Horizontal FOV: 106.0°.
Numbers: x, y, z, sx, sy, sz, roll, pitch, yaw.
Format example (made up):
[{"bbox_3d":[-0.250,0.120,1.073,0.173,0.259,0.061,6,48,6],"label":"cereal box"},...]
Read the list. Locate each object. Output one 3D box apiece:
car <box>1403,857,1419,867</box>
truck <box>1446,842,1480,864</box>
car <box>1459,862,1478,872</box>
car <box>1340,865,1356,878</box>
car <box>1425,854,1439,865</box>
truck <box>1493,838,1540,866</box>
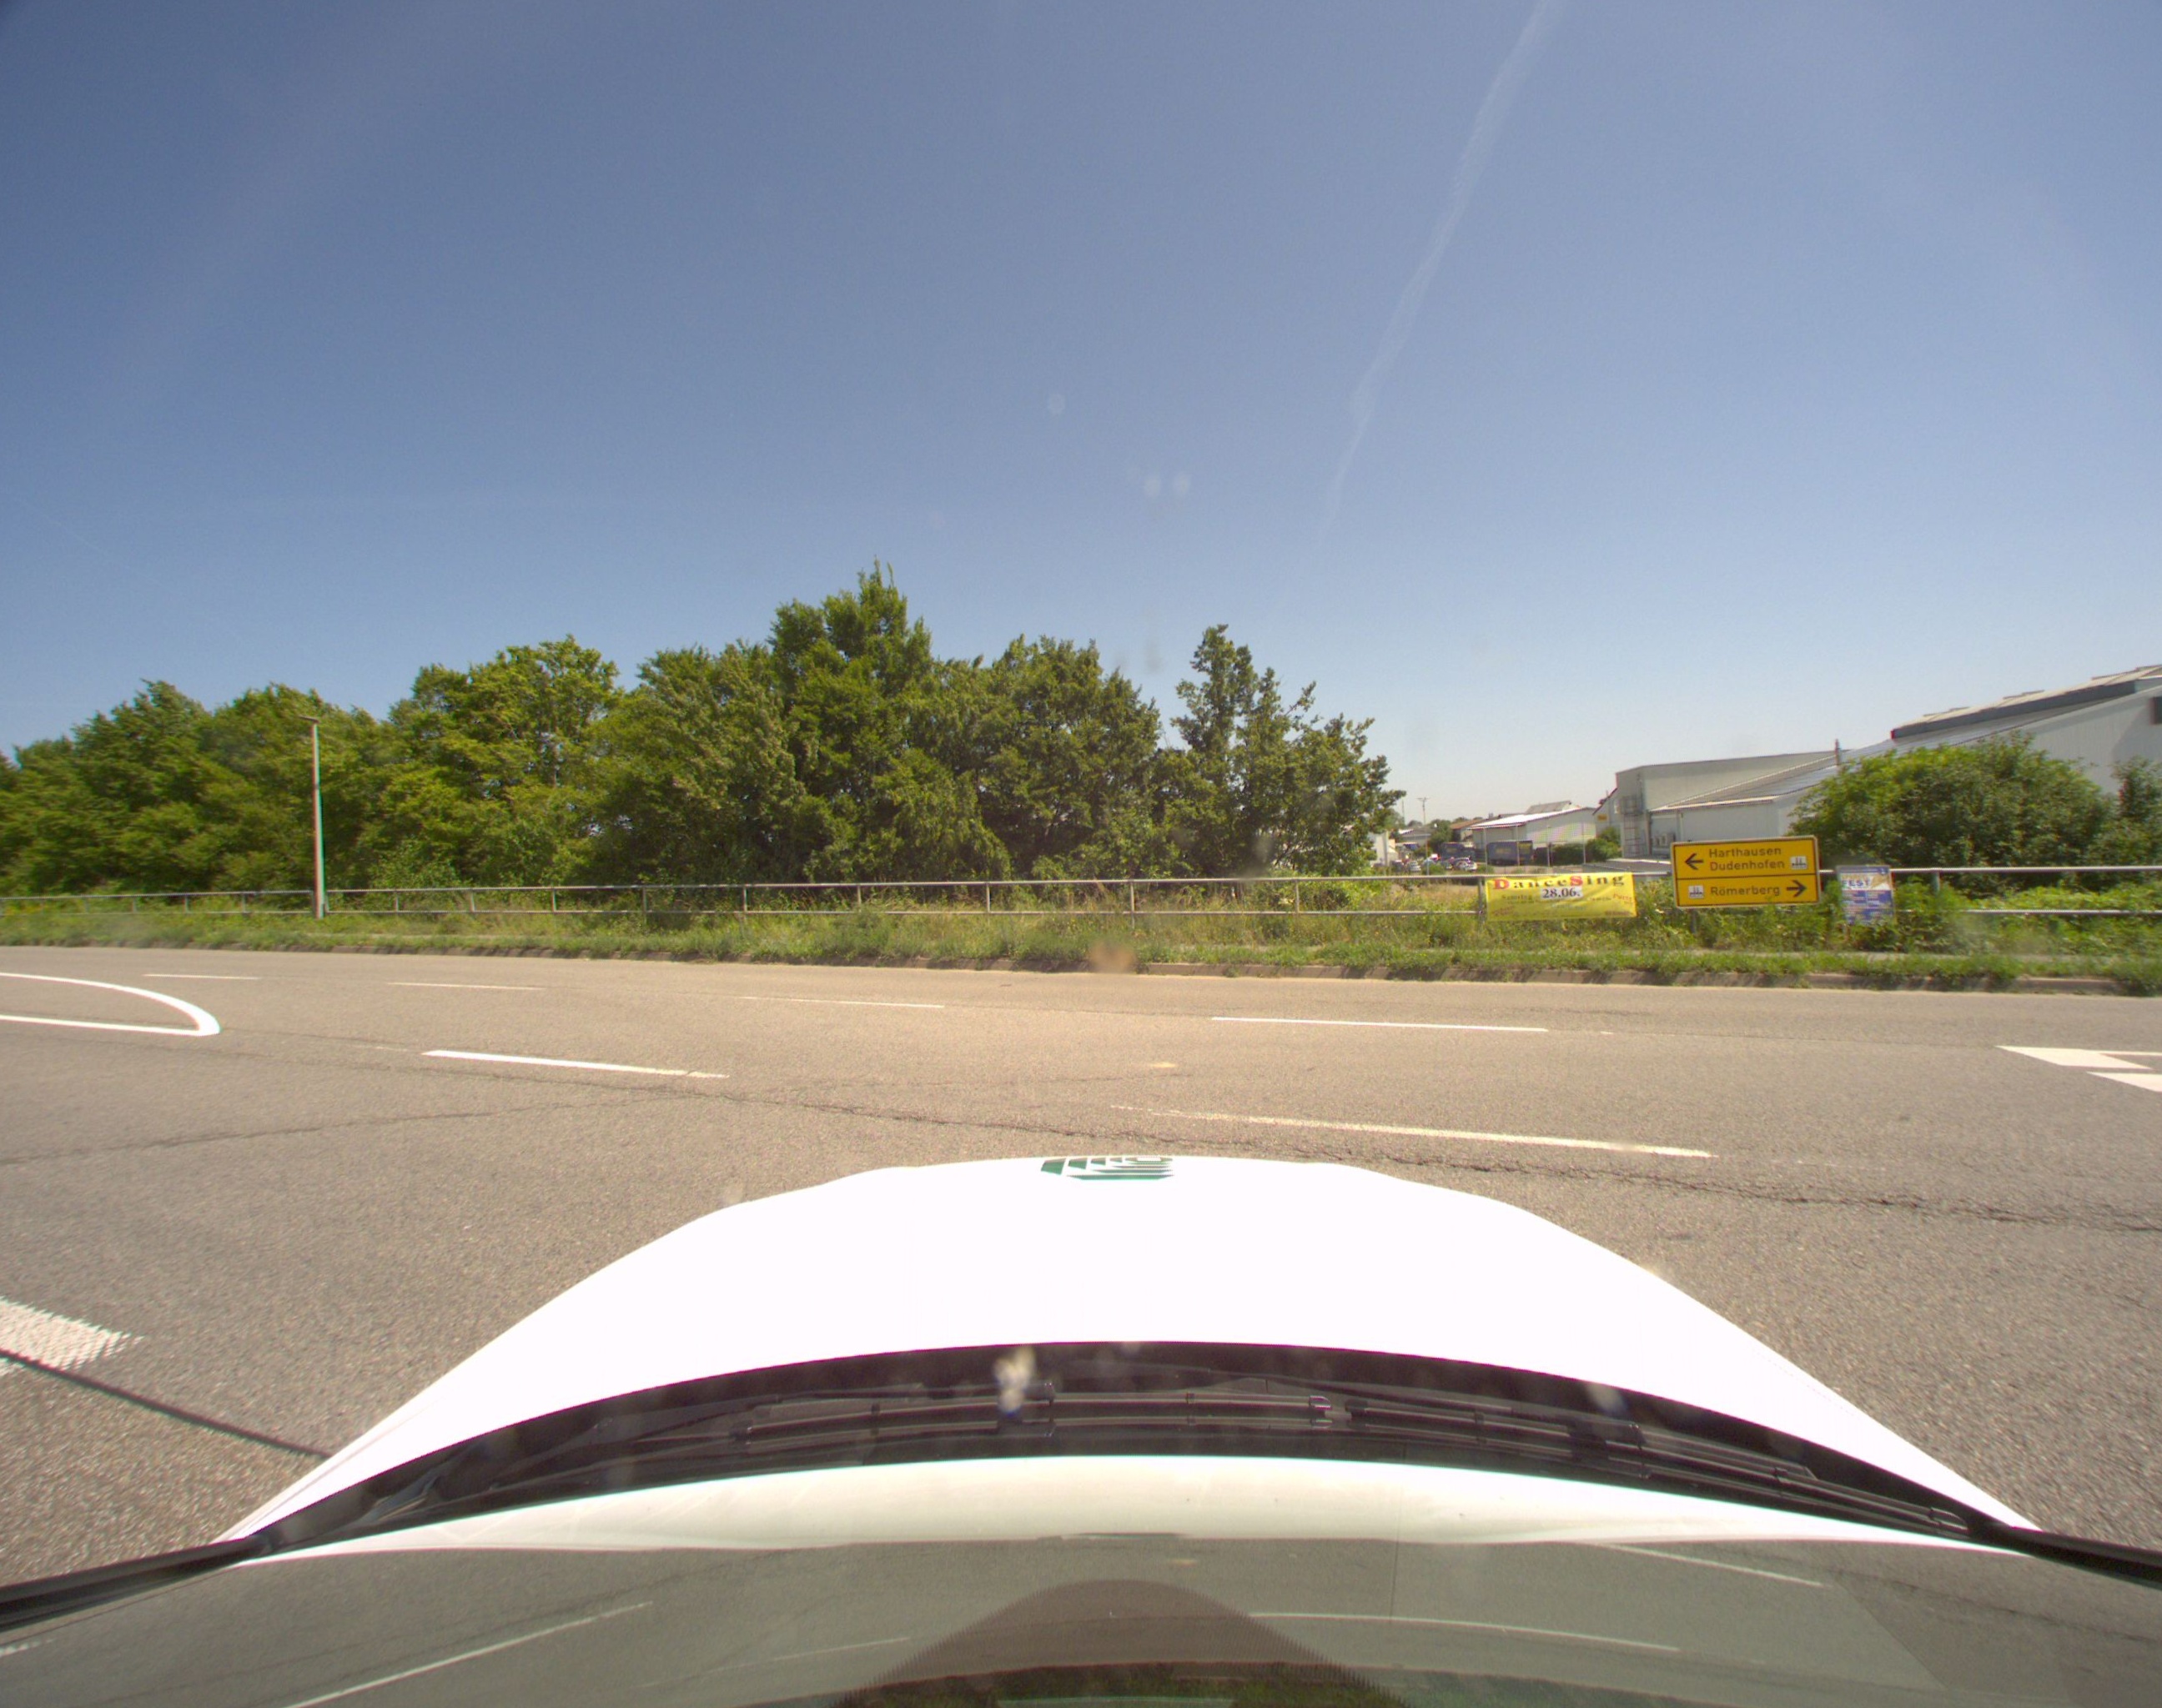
[{"bbox_3d":[63.534,1.555,156.723,1.980,1.731,4.879,-1,0,12],"label":"car"},{"bbox_3d":[79.238,-0.283,169.364,3.388,4.311,14.646,-2,0,13],"label":"truck"},{"bbox_3d":[58.159,1.958,122.341,1.671,1.363,3.849,-5,-1,13],"label":"car"},{"bbox_3d":[46.288,3.043,141.328,1.980,2.013,4.879,-1,0,12],"label":"car"},{"bbox_3d":[69.439,1.087,161.145,1.705,2.013,4.014,-2,0,13],"label":"car"},{"bbox_3d":[72.206,-0.271,135.316,3.681,4.311,13.393,-2,0,14],"label":"truck"}]
